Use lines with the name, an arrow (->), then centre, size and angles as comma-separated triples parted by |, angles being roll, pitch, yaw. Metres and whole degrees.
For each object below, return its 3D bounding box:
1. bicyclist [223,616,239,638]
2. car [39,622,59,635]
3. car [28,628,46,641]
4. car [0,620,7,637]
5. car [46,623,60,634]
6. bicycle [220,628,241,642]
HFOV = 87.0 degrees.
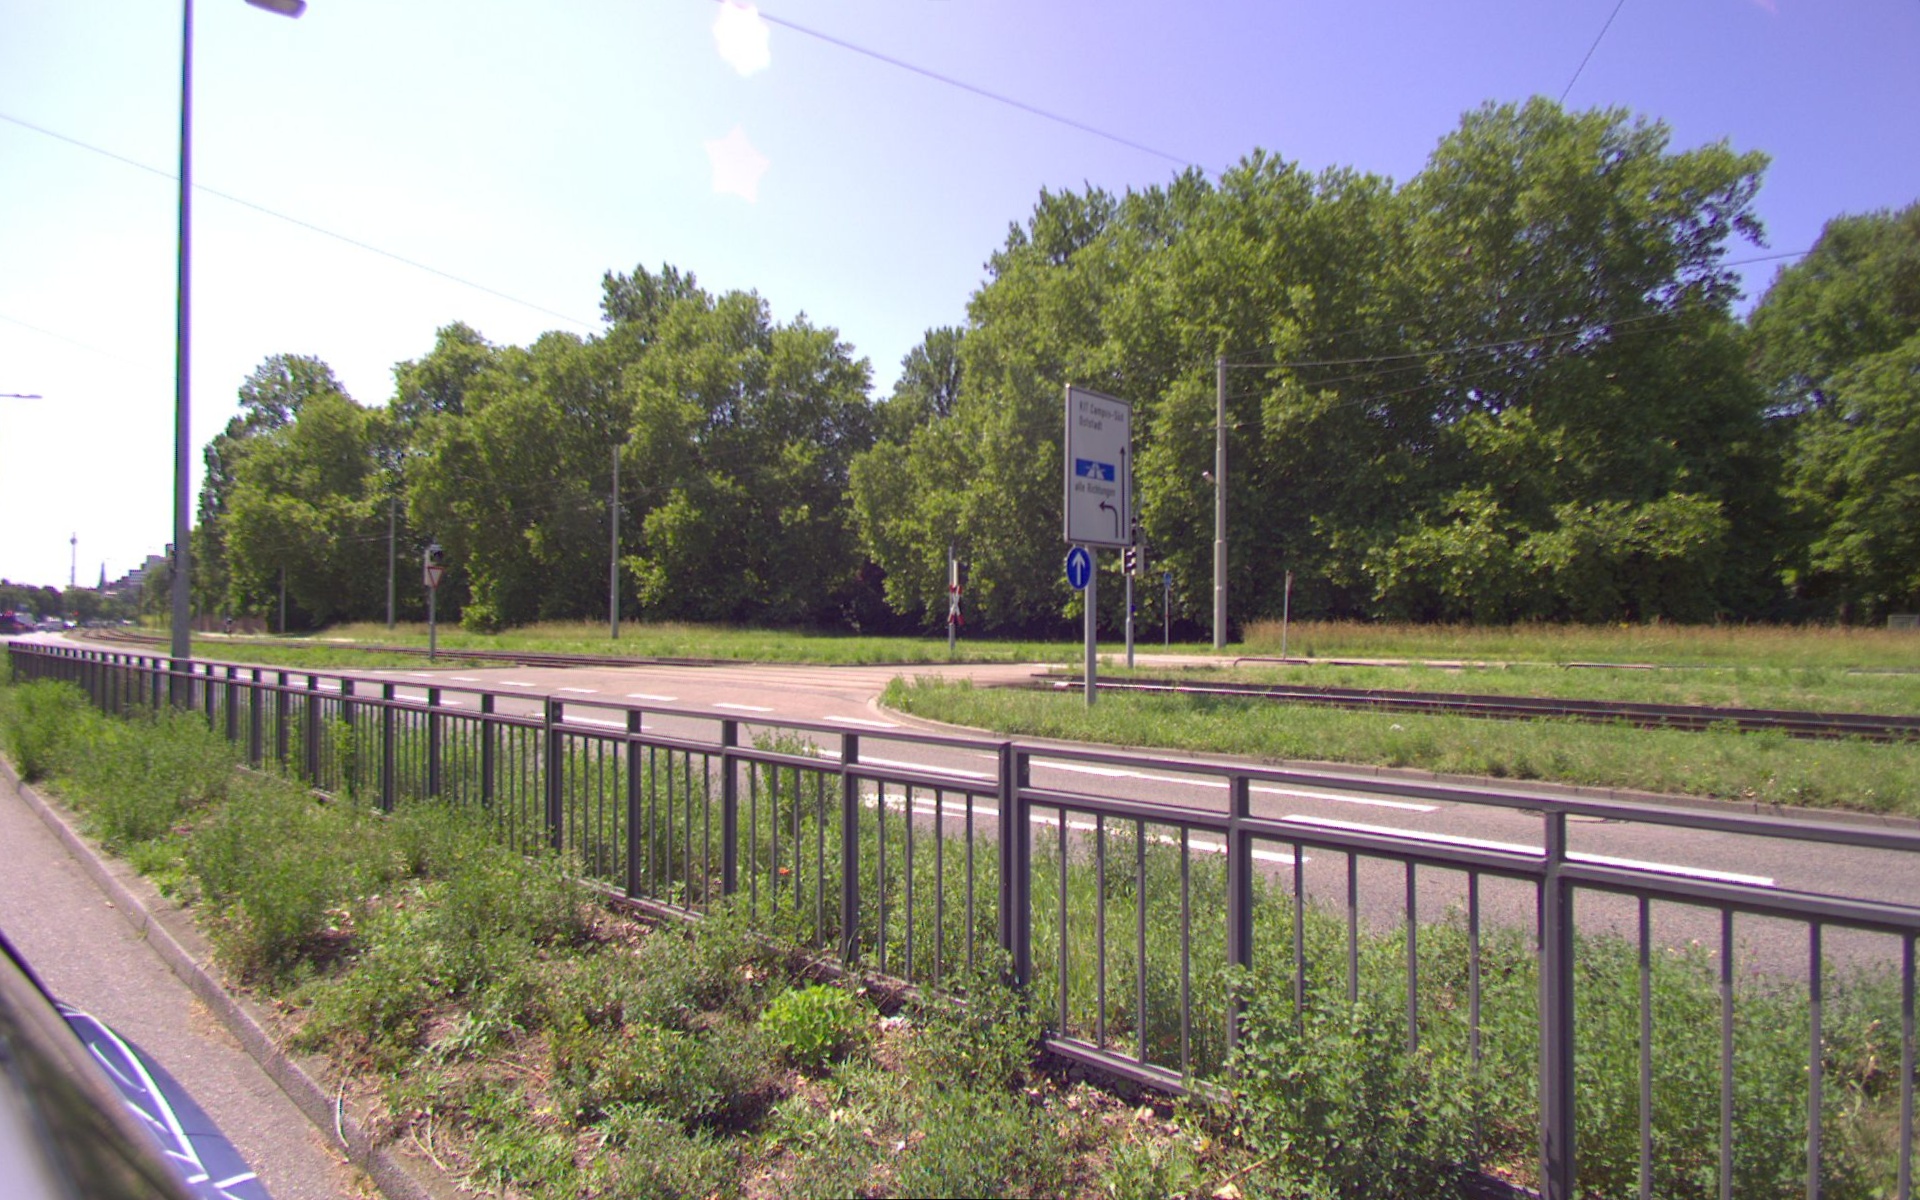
bicyclist -> -62.944, 2.318, 87.394 | 1.117, 1.820, 0.851 | -1, -2, 41
car -> -136.639, 4.225, 151.790 | 1.970, 1.871, 4.003 | 1, -2, -44
car -> -141.891, 5.275, 155.570 | 1.970, 1.871, 4.003 | 1, -2, -44
car -> -107.976, 3.203, 113.223 | 1.970, 1.871, 4.004 | 1, -2, -43
car -> -173.822, 5.441, 193.895 | 1.970, 2.029, 4.004 | -1, 0, -43
bicycle -> -62.998, 2.988, 87.395 | 2.785, 1.171, 0.851 | -1, -2, 41
